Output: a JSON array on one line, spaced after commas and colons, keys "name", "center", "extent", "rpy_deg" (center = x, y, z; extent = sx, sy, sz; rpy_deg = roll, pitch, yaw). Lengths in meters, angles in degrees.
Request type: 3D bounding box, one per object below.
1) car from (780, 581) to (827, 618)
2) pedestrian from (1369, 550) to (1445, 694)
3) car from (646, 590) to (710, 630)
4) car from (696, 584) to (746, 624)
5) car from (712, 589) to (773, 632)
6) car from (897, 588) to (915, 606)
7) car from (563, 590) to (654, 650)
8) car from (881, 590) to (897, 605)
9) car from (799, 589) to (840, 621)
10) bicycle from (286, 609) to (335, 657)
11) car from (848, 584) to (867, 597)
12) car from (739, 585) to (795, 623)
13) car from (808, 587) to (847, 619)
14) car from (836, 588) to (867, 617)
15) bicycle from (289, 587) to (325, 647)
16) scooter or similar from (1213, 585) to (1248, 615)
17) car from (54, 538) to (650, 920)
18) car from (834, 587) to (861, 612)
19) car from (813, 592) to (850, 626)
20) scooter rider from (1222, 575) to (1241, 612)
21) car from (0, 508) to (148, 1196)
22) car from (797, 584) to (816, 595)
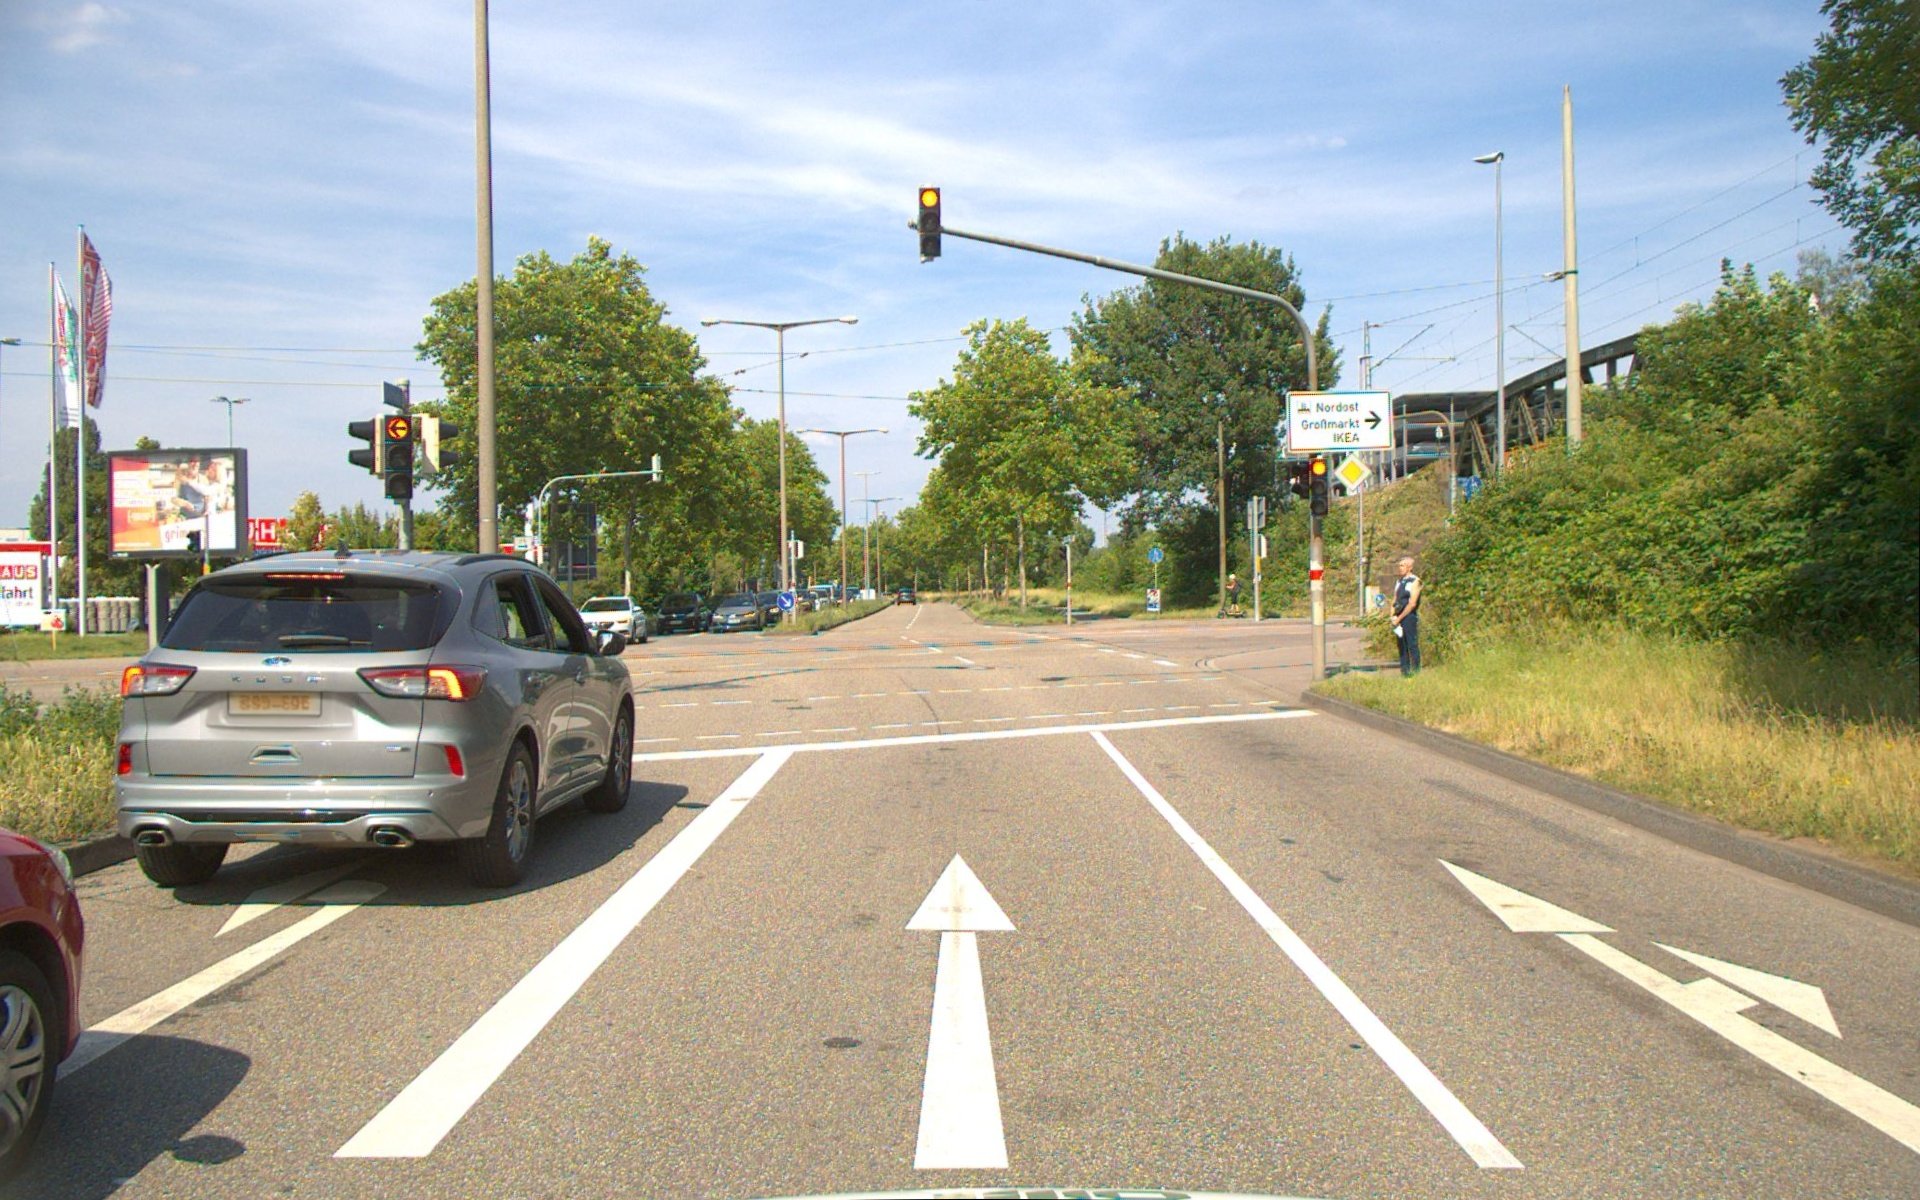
[{"name": "car", "center": [-7.617, -0.026, 80.825], "extent": [1.953, 1.725, 3.999], "rpy_deg": [-1, 1, -1]}, {"name": "pedestrian", "center": [6.273, 0.296, 23.255], "extent": [0.821, 1.966, 0.771], "rpy_deg": [-1, 2, -4]}, {"name": "car", "center": [-11.565, 0.402, 68.031], "extent": [1.953, 1.539, 3.999], "rpy_deg": [-1, 1, -1]}, {"name": "car", "center": [-12.131, 0.179, 84.279], "extent": [1.953, 1.928, 4.375], "rpy_deg": [-1, 1, -1]}, {"name": "car", "center": [-8.351, 0.378, 63.848], "extent": [1.879, 1.539, 3.999], "rpy_deg": [-1, 1, -1]}, {"name": "car", "center": [-5.332, -0.309, 163.911], "extent": [1.701, 1.562, 4.001], "rpy_deg": [0, 3, 0]}, {"name": "car", "center": [-10.585, 0.567, 50.071], "extent": [1.953, 1.539, 4.000], "rpy_deg": [-1, 3, -1]}, {"name": "car", "center": [-8.401, -0.351, 196.085], "extent": [1.828, 1.724, 4.409], "rpy_deg": [-1, 1, -1]}, {"name": "car", "center": [-7.462, 0.236, 87.943], "extent": [1.864, 1.624, 3.999], "rpy_deg": [-1, 1, -1]}, {"name": "bicycle", "center": [-18.435, 0.915, 46.998], "extent": [0.659, 1.278, 2.244], "rpy_deg": [-2, 0, -6]}, {"name": "car", "center": [-14.849, -1.374, 238.554], "extent": [1.836, 1.724, 4.389], "rpy_deg": [-1, 1, -16]}, {"name": "car", "center": [-8.315, 0.145, 71.565], "extent": [1.953, 1.527, 3.999], "rpy_deg": [-1, 1, -1]}, {"name": "car", "center": [-7.552, 0.148, 94.626], "extent": [1.953, 1.707, 3.999], "rpy_deg": [-1, 1, -1]}, {"name": "car", "center": [-7.620, 0.134, 116.294], "extent": [1.953, 1.928, 4.375], "rpy_deg": [-1, 1, -1]}, {"name": "bicycle", "center": [-18.438, 0.467, 46.728], "extent": [0.659, 1.643, 0.991], "rpy_deg": [-2, 0, -6]}, {"name": "scooter or similar", "center": [10.603, -0.005, 64.865], "extent": [1.315, 1.117, 0.493], "rpy_deg": [-1, 0, 4]}, {"name": "car", "center": [-3.043, 0.545, 9.316], "extent": [1.843, 1.646, 4.212], "rpy_deg": [-1, 0, -1]}, {"name": "car", "center": [-9.165, -0.072, 134.989], "extent": [1.953, 1.928, 4.374], "rpy_deg": [-1, 1, -2]}, {"name": "car", "center": [-7.744, 0.535, 100.175], "extent": [1.953, 1.928, 4.375], "rpy_deg": [-1, 1, -1]}, {"name": "scooter rider", "center": [10.643, -0.254, 64.865], "extent": [0.661, 1.453, 0.493], "rpy_deg": [-1, 0, 4]}, {"name": "car", "center": [-3.052, 0.596, 2.656], "extent": [1.595, 1.623, 3.917], "rpy_deg": [-1, -1, -1]}, {"name": "car", "center": [-23.790, -1.628, 256.006], "extent": [1.839, 1.724, 4.382], "rpy_deg": [-1, 1, -20]}]
